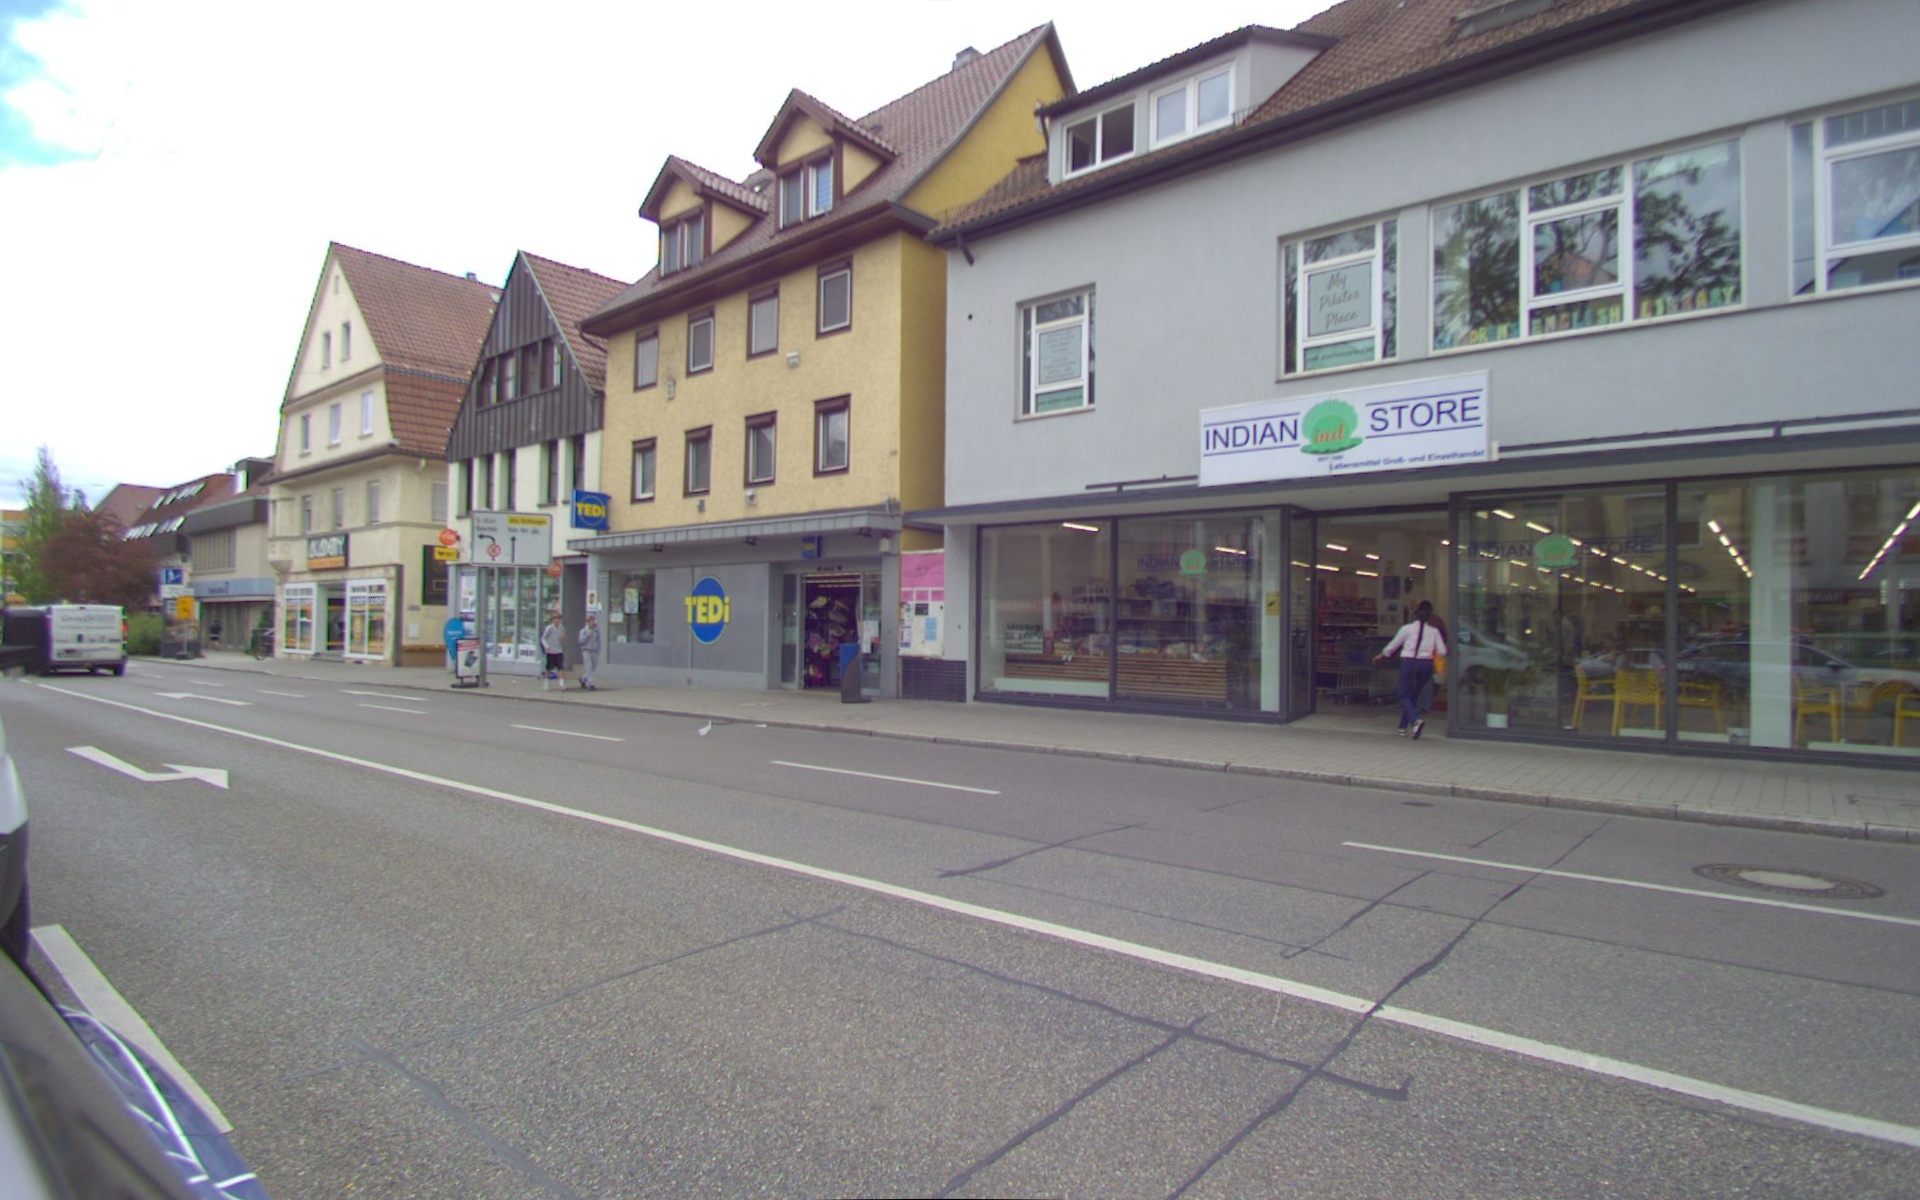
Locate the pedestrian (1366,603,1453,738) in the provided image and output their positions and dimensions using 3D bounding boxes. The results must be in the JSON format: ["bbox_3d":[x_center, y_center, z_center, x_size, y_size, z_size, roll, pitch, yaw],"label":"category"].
[{"bbox_3d":[5.477,0.845,12.381,0.840,1.592,0.721,-1,-2,15],"label":"pedestrian"}]

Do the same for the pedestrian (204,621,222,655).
[{"bbox_3d":[-42.604,2.146,57.707,0.678,1.917,0.665,-2,-2,41],"label":"pedestrian"}]

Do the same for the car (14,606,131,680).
[{"bbox_3d":[-25.423,1.189,28.946,4.523,1.958,1.885,-2,-2,41],"label":"car"}]

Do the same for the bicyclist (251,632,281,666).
[{"bbox_3d":[-29.047,2.038,42.374,0.770,1.434,0.745,-1,-2,27],"label":"bicyclist"}]

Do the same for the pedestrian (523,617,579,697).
[{"bbox_3d":[-8.845,1.218,21.880,0.920,1.674,0.801,-2,-2,42],"label":"pedestrian"}]

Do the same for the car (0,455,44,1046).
[{"bbox_3d":[-5.972,0.573,4.679,5.777,1.994,1.915,-2,0,41],"label":"car"}]

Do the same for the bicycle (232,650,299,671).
[{"bbox_3d":[-29.050,2.521,42.349,0.770,0.829,2.219,-1,-2,27],"label":"bicycle"}]

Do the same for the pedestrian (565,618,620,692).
[{"bbox_3d":[-8.173,1.207,22.509,0.920,1.595,0.801,-2,-2,42],"label":"pedestrian"}]
